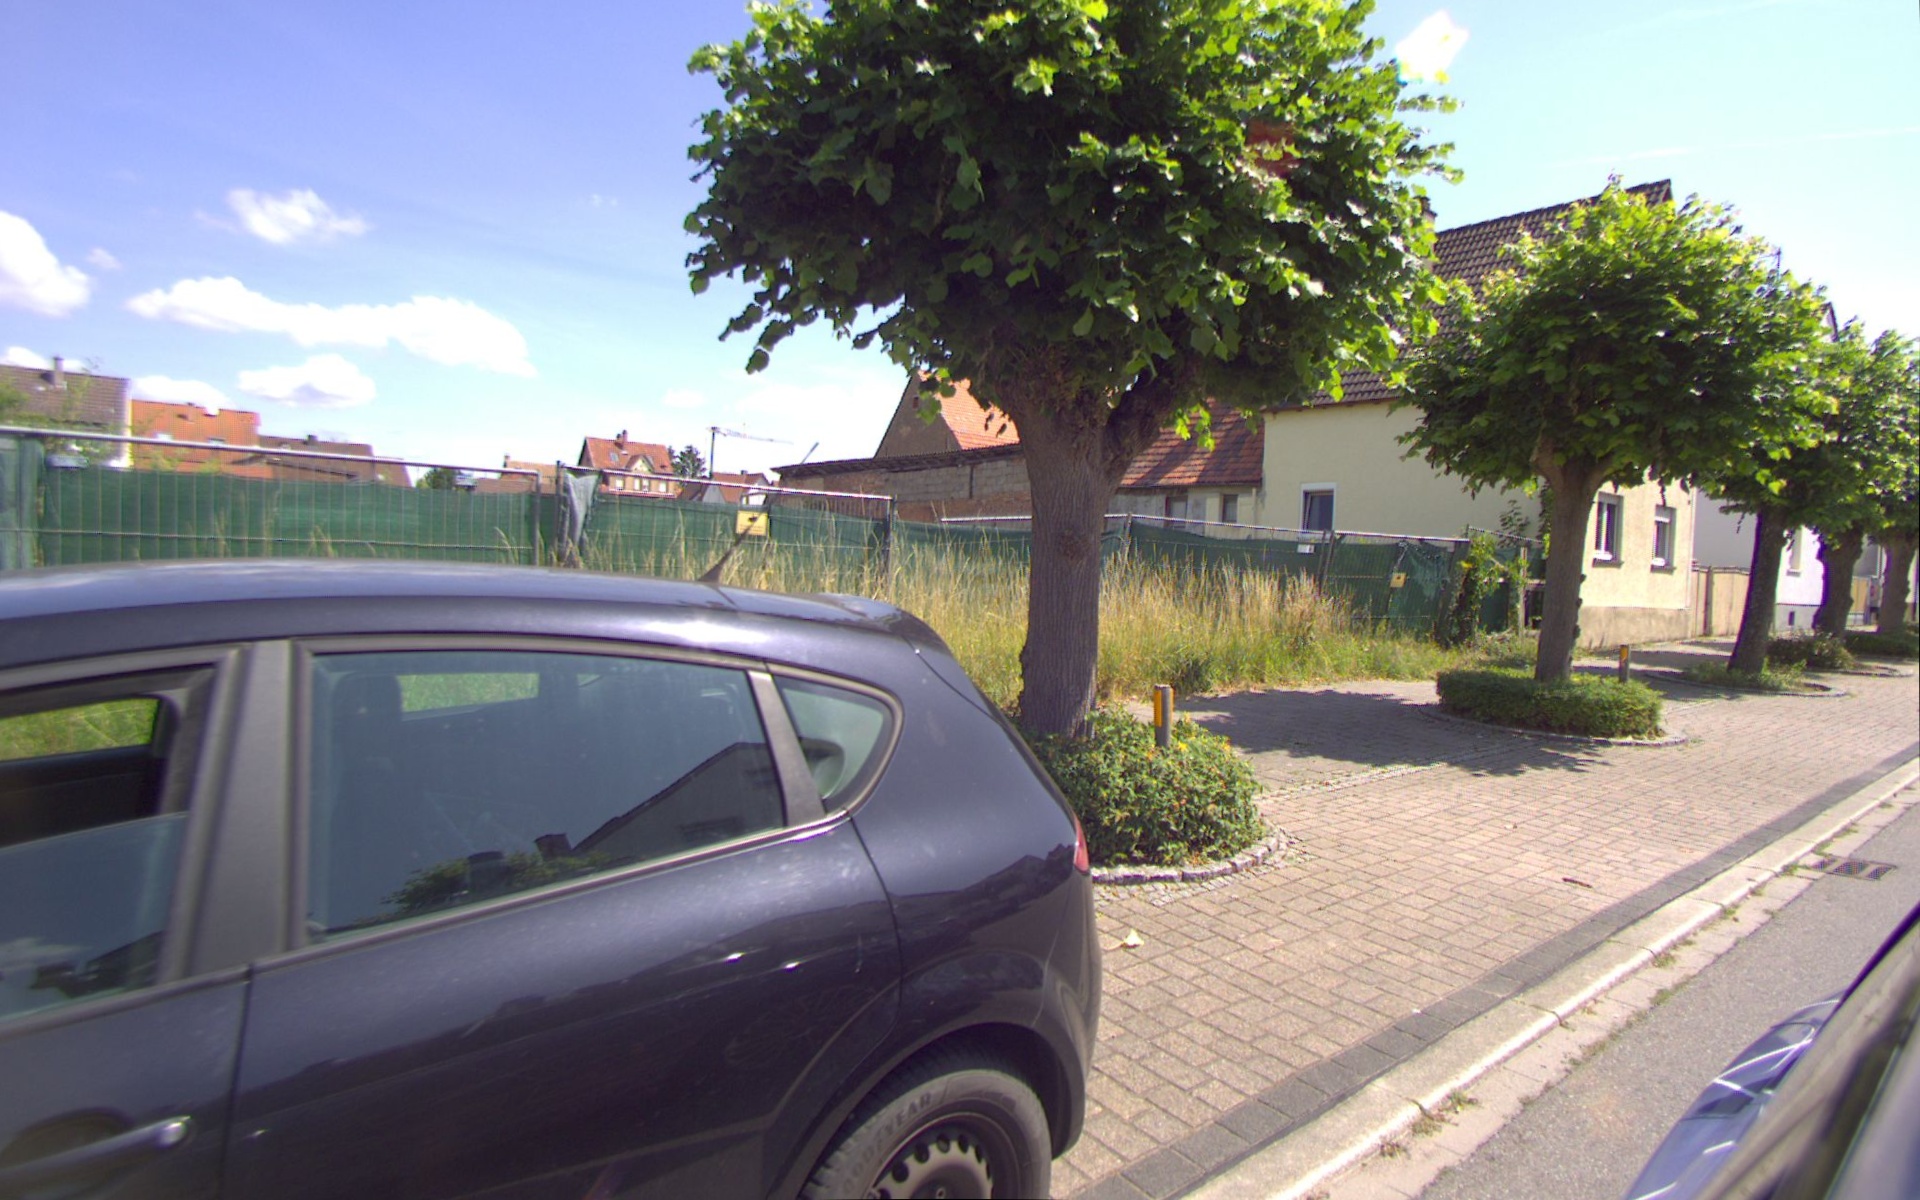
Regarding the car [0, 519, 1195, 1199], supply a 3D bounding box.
[{"bbox_3d":[-1.687,0.618,1.443,3.983,1.449,1.829,0,4,-39],"label":"car"}]
